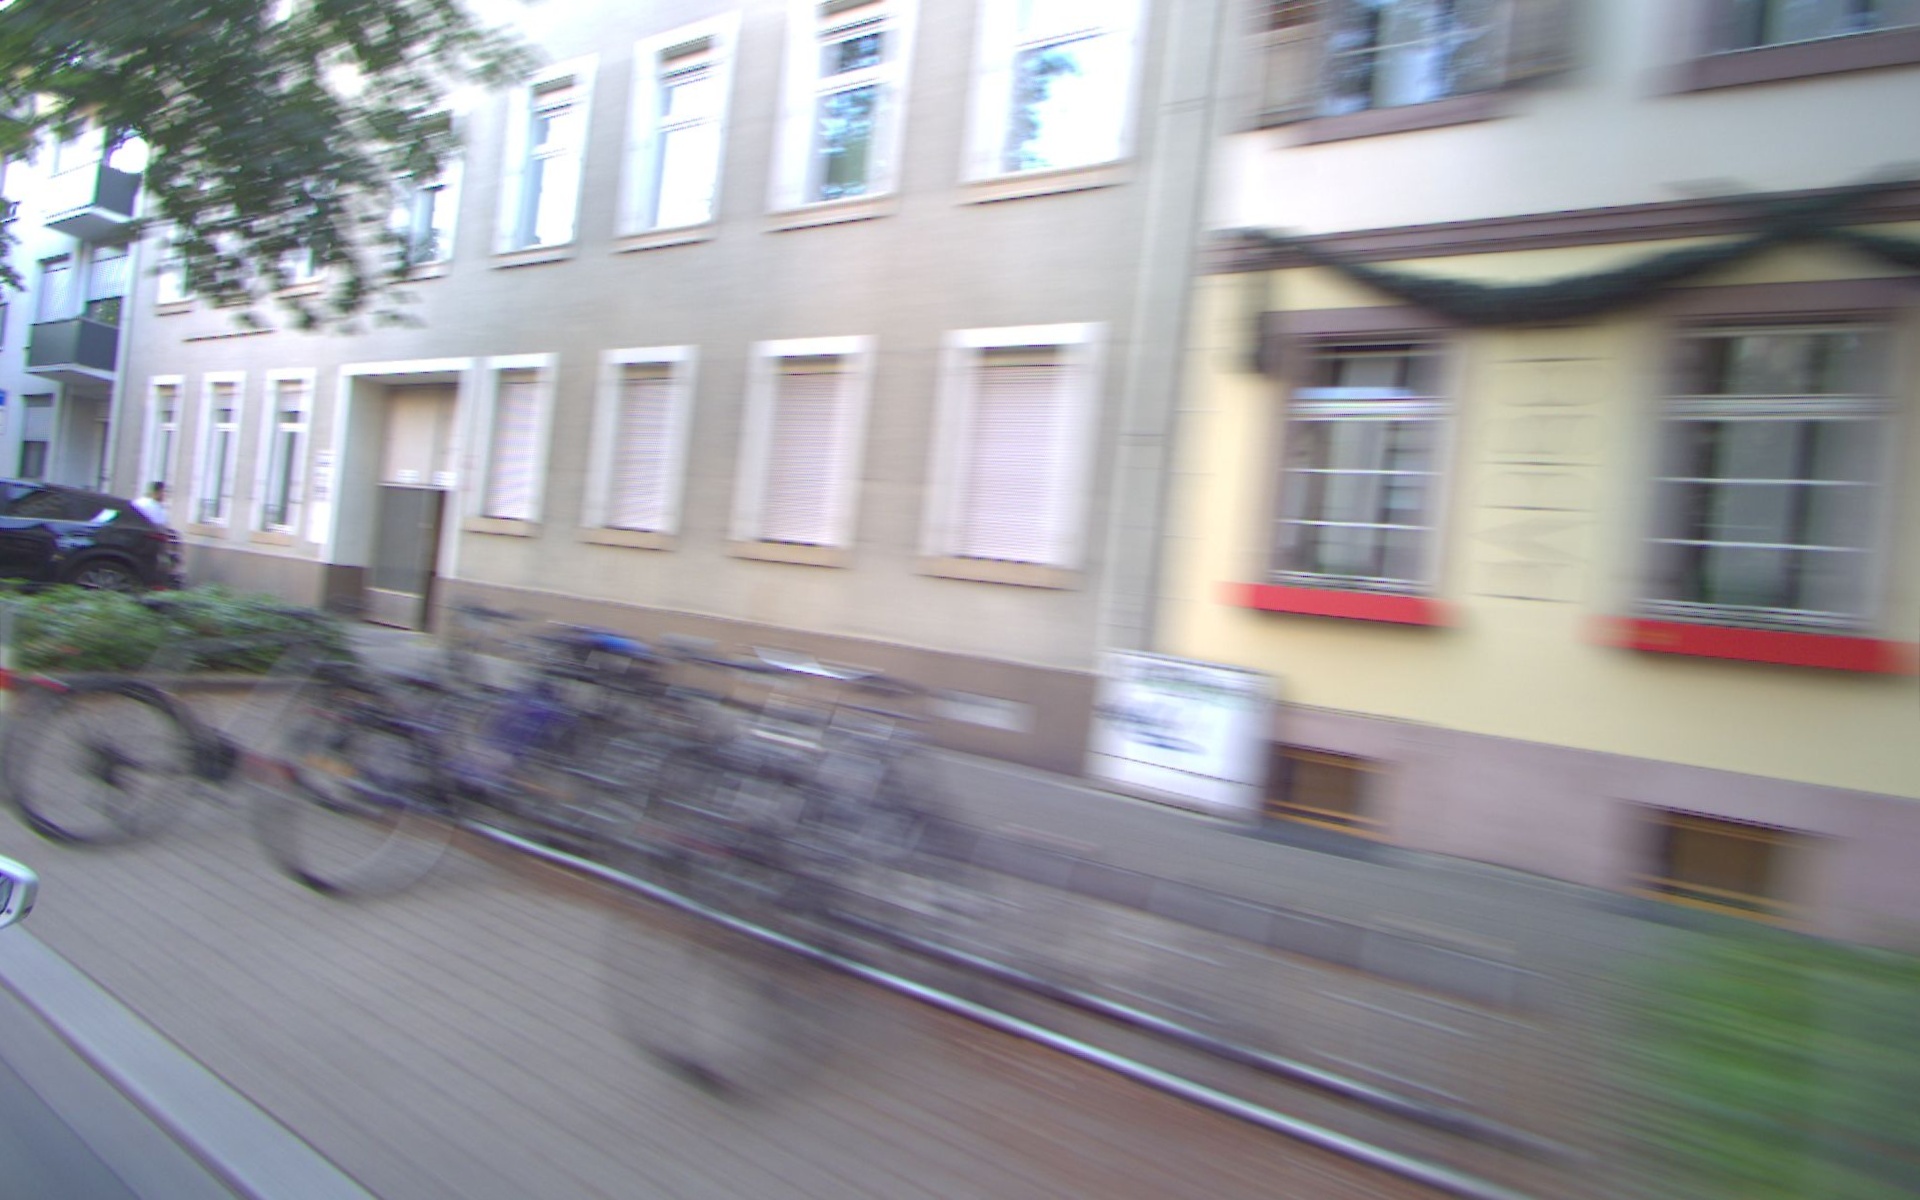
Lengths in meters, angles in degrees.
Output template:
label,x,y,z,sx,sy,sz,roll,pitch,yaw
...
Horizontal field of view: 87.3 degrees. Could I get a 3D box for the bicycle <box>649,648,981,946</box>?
label,x,y,z,sx,sy,sz,roll,pitch,yaw
bicycle,-0.618,0.852,5.040,0.652,1.143,1.798,7,1,26

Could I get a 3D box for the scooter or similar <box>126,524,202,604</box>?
label,x,y,z,sx,sy,sz,roll,pitch,yaw
scooter or similar,-12.818,-0.580,16.205,0.818,1.168,0.655,7,1,33

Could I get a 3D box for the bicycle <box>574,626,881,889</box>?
label,x,y,z,sx,sy,sz,roll,pitch,yaw
bicycle,-1.196,0.777,5.628,0.639,1.157,1.799,7,1,23

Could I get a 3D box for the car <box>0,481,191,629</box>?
label,x,y,z,sx,sy,sz,roll,pitch,yaw
car,-12.485,-0.692,12.313,1.869,1.676,4.429,7,0,33

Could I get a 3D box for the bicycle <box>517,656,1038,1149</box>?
label,x,y,z,sx,sy,sz,roll,pitch,yaw
bicycle,-0.487,0.841,3.538,0.662,1.193,1.831,7,1,31

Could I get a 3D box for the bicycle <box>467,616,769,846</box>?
label,x,y,z,sx,sy,sz,roll,pitch,yaw
bicycle,-1.940,0.709,6.011,0.491,1.121,1.798,7,1,26

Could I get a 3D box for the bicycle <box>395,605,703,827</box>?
label,x,y,z,sx,sy,sz,roll,pitch,yaw
bicycle,-2.425,0.655,6.194,0.491,1.121,1.798,7,1,26

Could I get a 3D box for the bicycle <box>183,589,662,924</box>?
label,x,y,z,sx,sy,sz,roll,pitch,yaw
bicycle,-2.336,0.630,4.650,0.590,1.193,1.831,7,1,31

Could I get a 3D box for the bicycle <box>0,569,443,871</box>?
label,x,y,z,sx,sy,sz,roll,pitch,yaw
bicycle,-3.658,0.505,4.983,0.731,1.150,1.842,7,0,22

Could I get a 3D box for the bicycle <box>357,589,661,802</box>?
label,x,y,z,sx,sy,sz,roll,pitch,yaw
bicycle,-2.900,0.584,6.700,0.657,1.157,1.799,7,1,23

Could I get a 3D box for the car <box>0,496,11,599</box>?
label,x,y,z,sx,sy,sz,roll,pitch,yaw
car,-15.417,-0.932,13.471,1.867,1.471,3.488,7,0,30

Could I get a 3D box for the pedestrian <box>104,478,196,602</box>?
label,x,y,z,sx,sy,sz,roll,pitch,yaw
pedestrian,-12.174,-0.879,15.140,0.661,1.759,0.691,6,1,1
